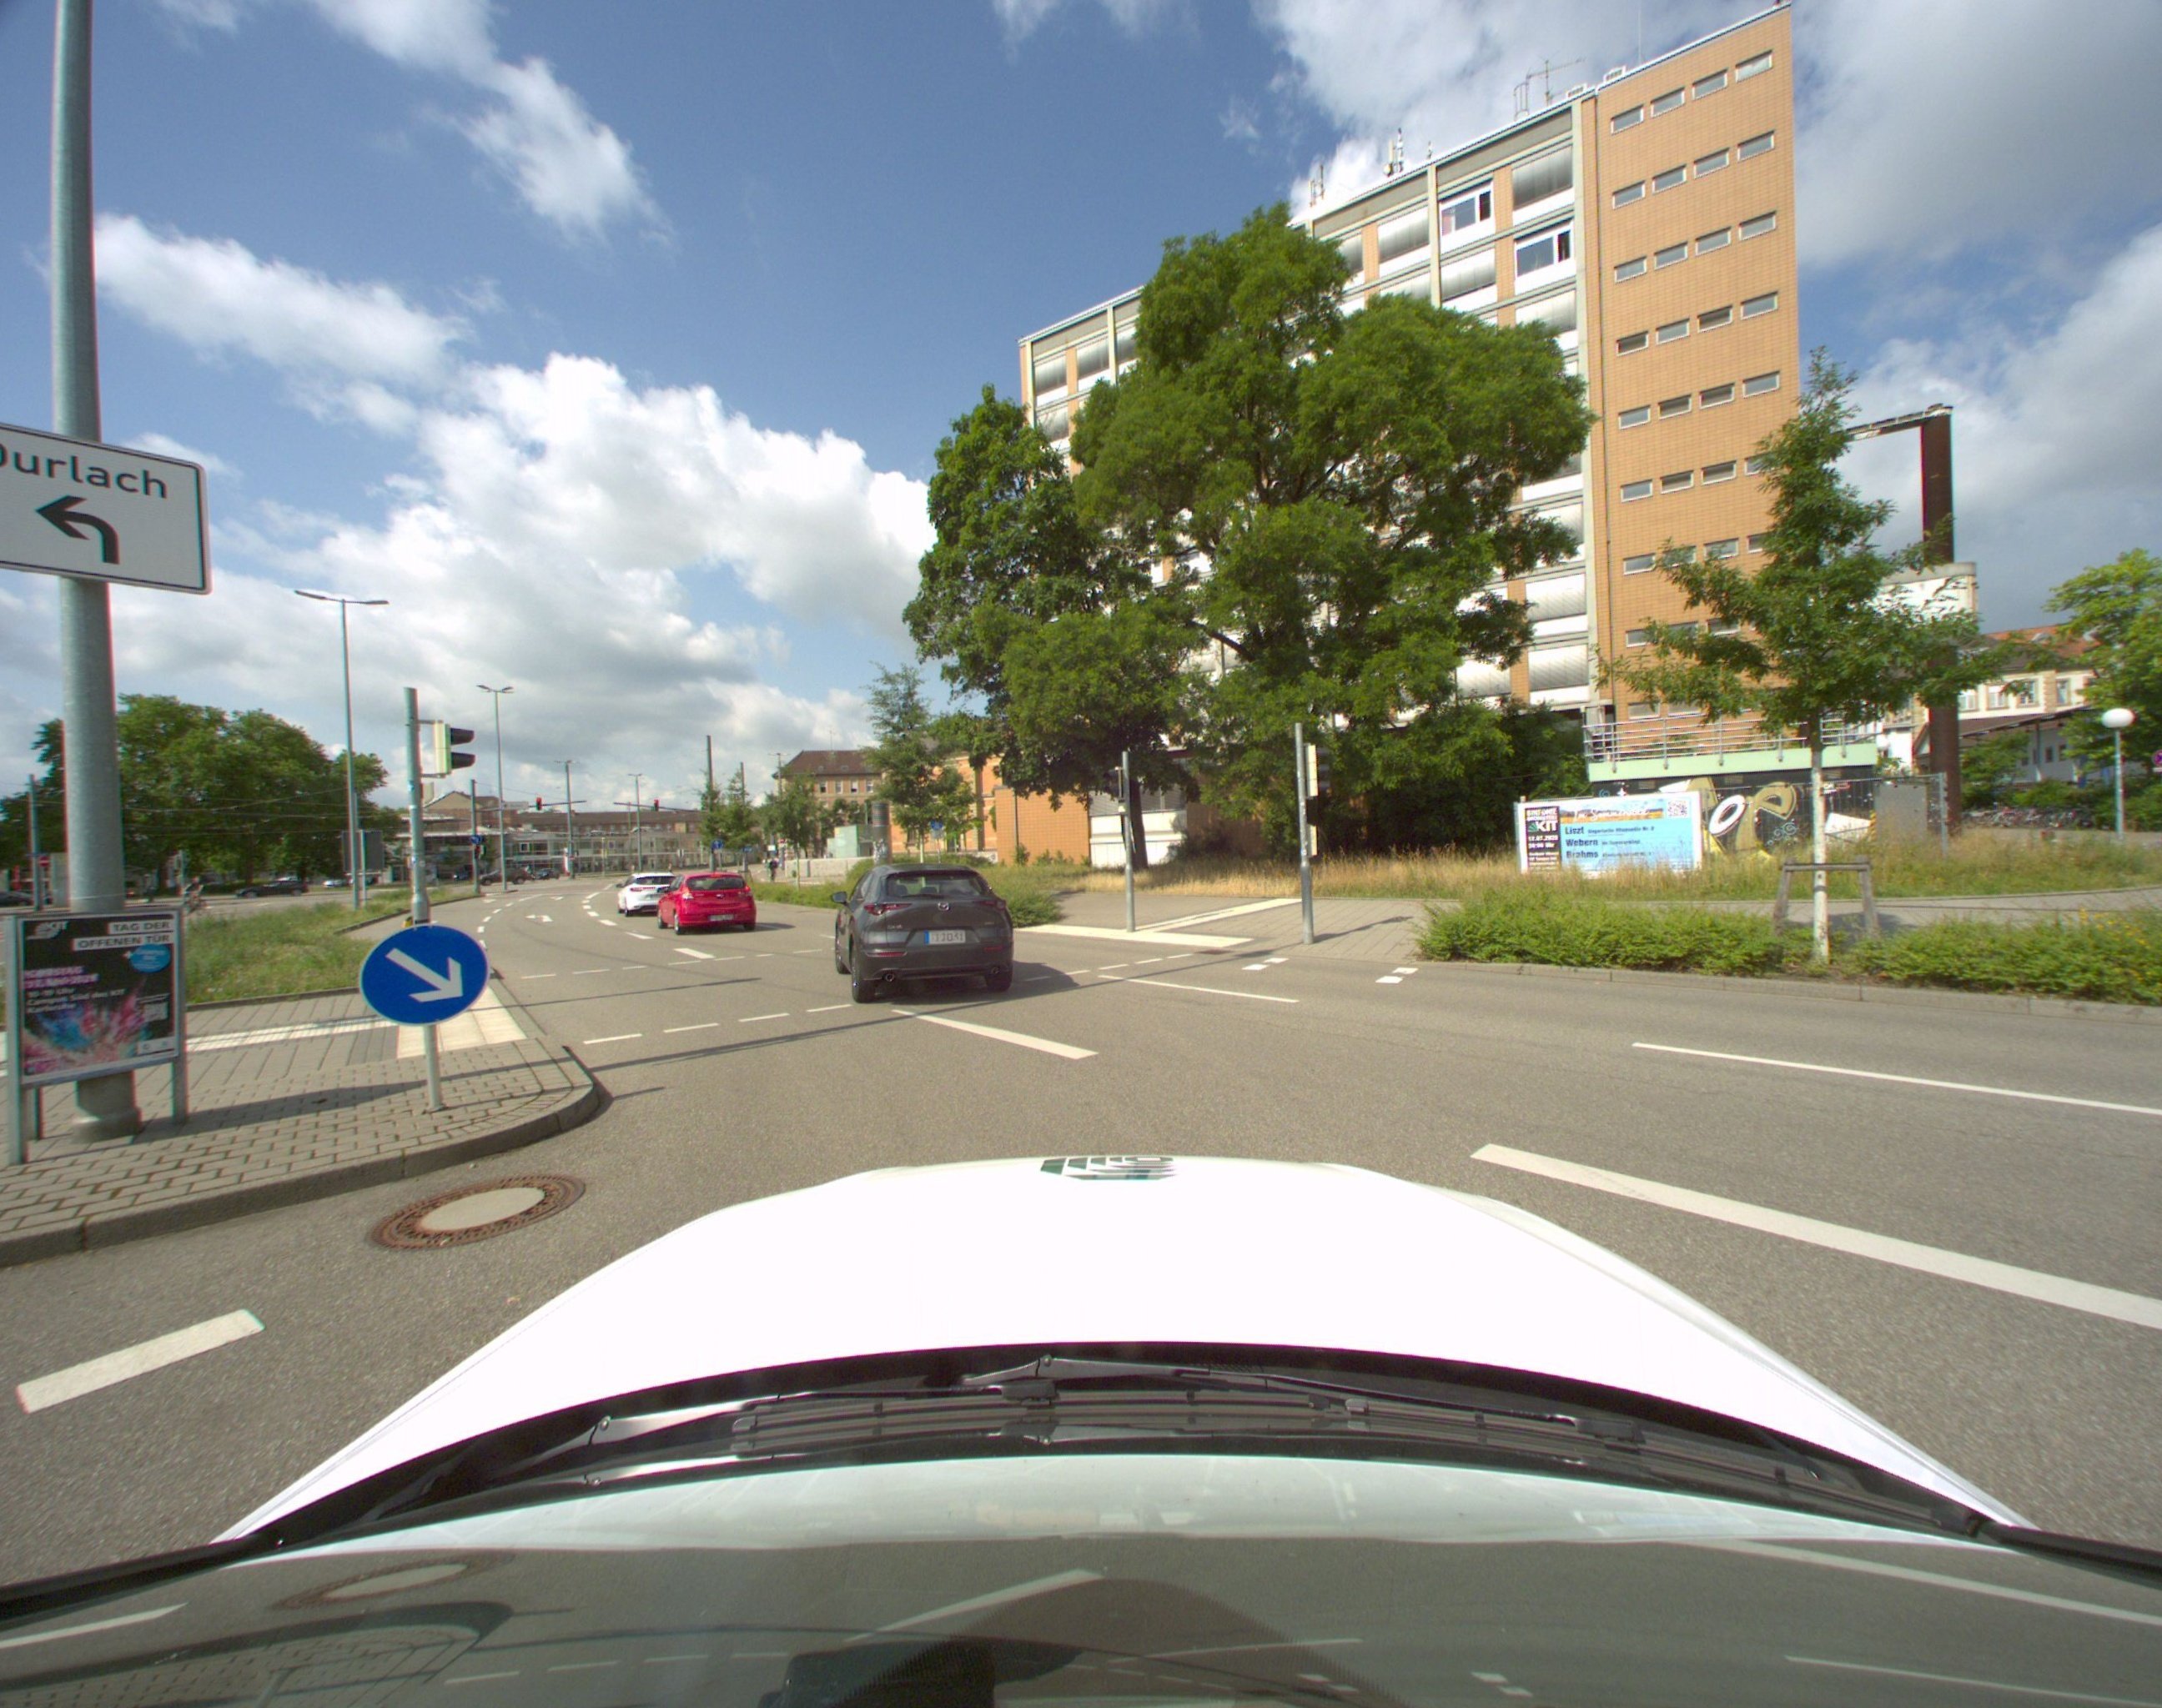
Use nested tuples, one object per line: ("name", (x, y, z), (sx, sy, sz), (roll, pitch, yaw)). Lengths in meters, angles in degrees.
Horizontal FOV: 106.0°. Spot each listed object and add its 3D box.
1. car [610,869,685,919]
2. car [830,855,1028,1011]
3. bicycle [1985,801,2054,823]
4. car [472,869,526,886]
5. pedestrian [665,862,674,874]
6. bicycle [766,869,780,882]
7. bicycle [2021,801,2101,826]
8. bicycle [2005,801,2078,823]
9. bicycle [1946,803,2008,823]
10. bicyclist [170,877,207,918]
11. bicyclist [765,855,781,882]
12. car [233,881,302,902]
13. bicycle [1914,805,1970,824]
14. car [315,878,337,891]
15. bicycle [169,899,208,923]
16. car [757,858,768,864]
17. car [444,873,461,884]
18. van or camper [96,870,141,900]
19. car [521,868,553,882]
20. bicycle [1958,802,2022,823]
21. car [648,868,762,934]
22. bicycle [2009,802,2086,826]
("car", (-15.001, 1.324, 28.086), (1.861, 1.472, 4.290), (-3, 1, -33))
("car", (-2.157, 0.840, 10.487), (1.812, 1.508, 4.176), (-2, -1, -20))
("bicycle", (45.385, -2.010, 39.408), (2.035, 0.936, 0.809), (-2, 0, 32))
("car", (-57.988, 2.327, 81.170), (1.791, 1.508, 4.106), (-2, 1, 43))
("pedestrian", (-51.365, 1.757, 101.758), (0.666, 1.535, 0.679), (-2, 0, 20))
("bicycle", (-20.183, 1.413, 53.407), (0.628, 0.810, 1.773), (-4, 1, -27))
("bicycle", (41.977, -1.730, 34.912), (2.035, 0.936, 0.809), (-2, 0, 32))
("bicycle", (44.893, -1.953, 38.078), (2.035, 0.936, 0.809), (-2, 0, 32))
("bicycle", (47.599, -2.185, 43.286), (2.035, 0.936, 0.809), (-2, 0, 32))
("bicyclist", (-42.104, 2.041, 38.434), (0.816, 1.822, 1.147), (-2, 0, -32))
("bicyclist", (-20.124, 0.949, 53.258), (0.740, 1.702, 0.957), (-5, 1, -28))
("car", (-69.293, 3.149, 69.391), (1.791, 1.508, 4.106), (-2, 0, 43))
("bicycle", (49.417, -2.255, 46.755), (2.035, 0.936, 0.809), (-2, 0, 32))
("car", (-109.325, 4.427, 117.993), (1.812, 1.769, 3.955), (-3, 1, -37))
("bicycle", (-42.082, 2.658, 38.432), (0.620, 1.002, 1.999), (-2, 0, -30))
("car", (-79.747, 1.651, 203.906), (1.996, 1.442, 3.982), (-3, 1, -13))
("car", (-95.949, 3.703, 124.284), (2.010, 1.552, 4.032), (-3, 0, -38))
("van or camper", (-100.416, 3.266, 84.941), (6.020, 2.908, 2.606), (-2, 1, 37))
("car", (-66.643, 2.573, 99.904), (1.997, 1.530, 3.980), (-3, 1, -14))
("bicycle", (47.162, -2.145, 42.292), (2.035, 0.936, 0.809), (-2, 0, 32))
("car", (-9.496, 1.113, 20.401), (1.830, 1.439, 4.022), (-1, -1, -36))
("bicycle", (42.915, -1.757, 36.193), (2.035, 0.936, 0.809), (-2, 0, 32))
